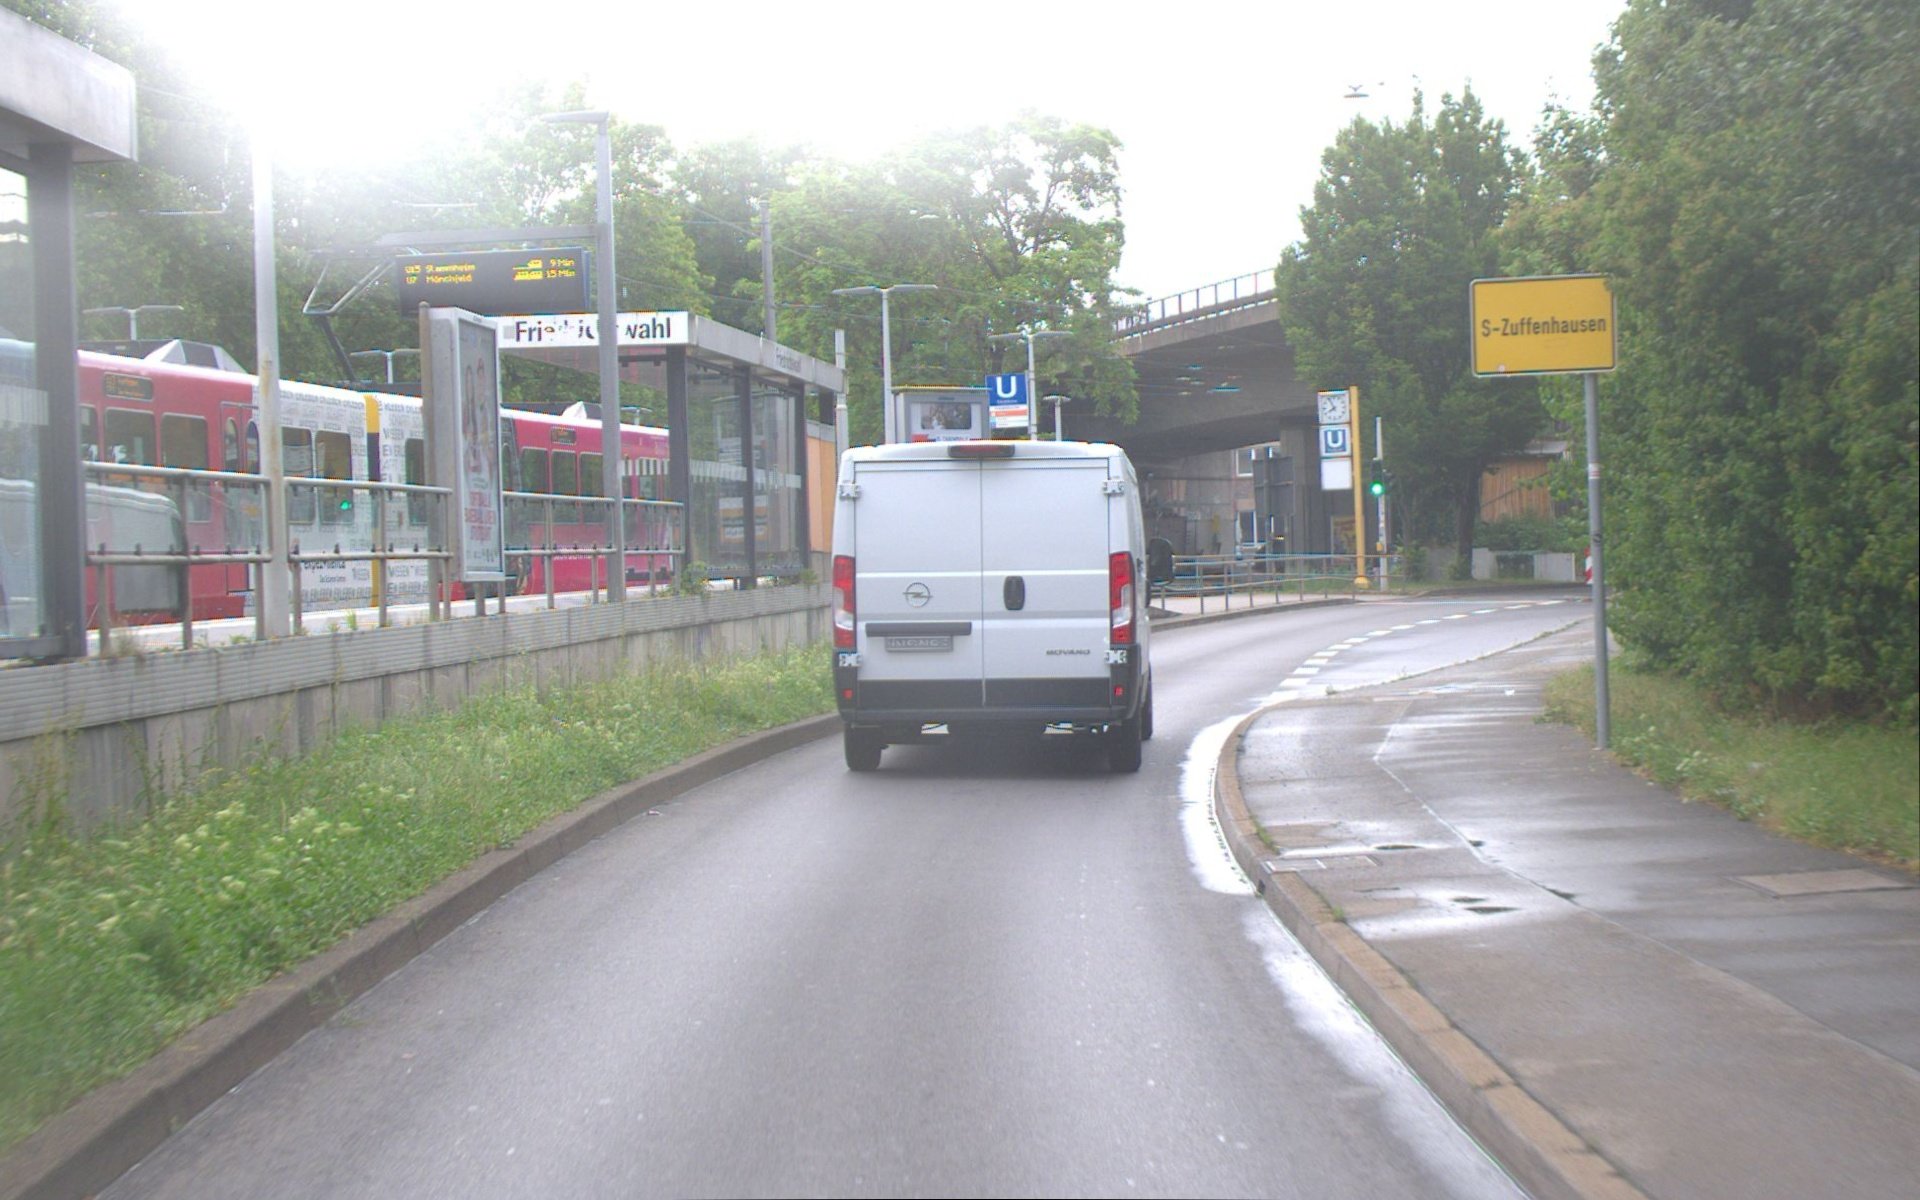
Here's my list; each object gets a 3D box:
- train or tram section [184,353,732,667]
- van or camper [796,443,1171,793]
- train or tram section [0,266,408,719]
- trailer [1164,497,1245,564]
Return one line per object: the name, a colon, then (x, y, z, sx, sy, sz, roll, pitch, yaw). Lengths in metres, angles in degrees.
train or tram section: (-7.013, -1.248, 53.087, 2.869, 3.947, 19.324, 1, 1, 8)
van or camper: (0.291, 0.086, 24.700, 2.199, 2.245, 4.683, 1, 1, 6)
train or tram section: (-9.427, -0.994, 33.882, 2.868, 3.957, 19.327, 1, 1, 6)
trailer: (10.152, -2.874, 143.031, 1.993, 2.716, 4.125, 0, 0, -17)
